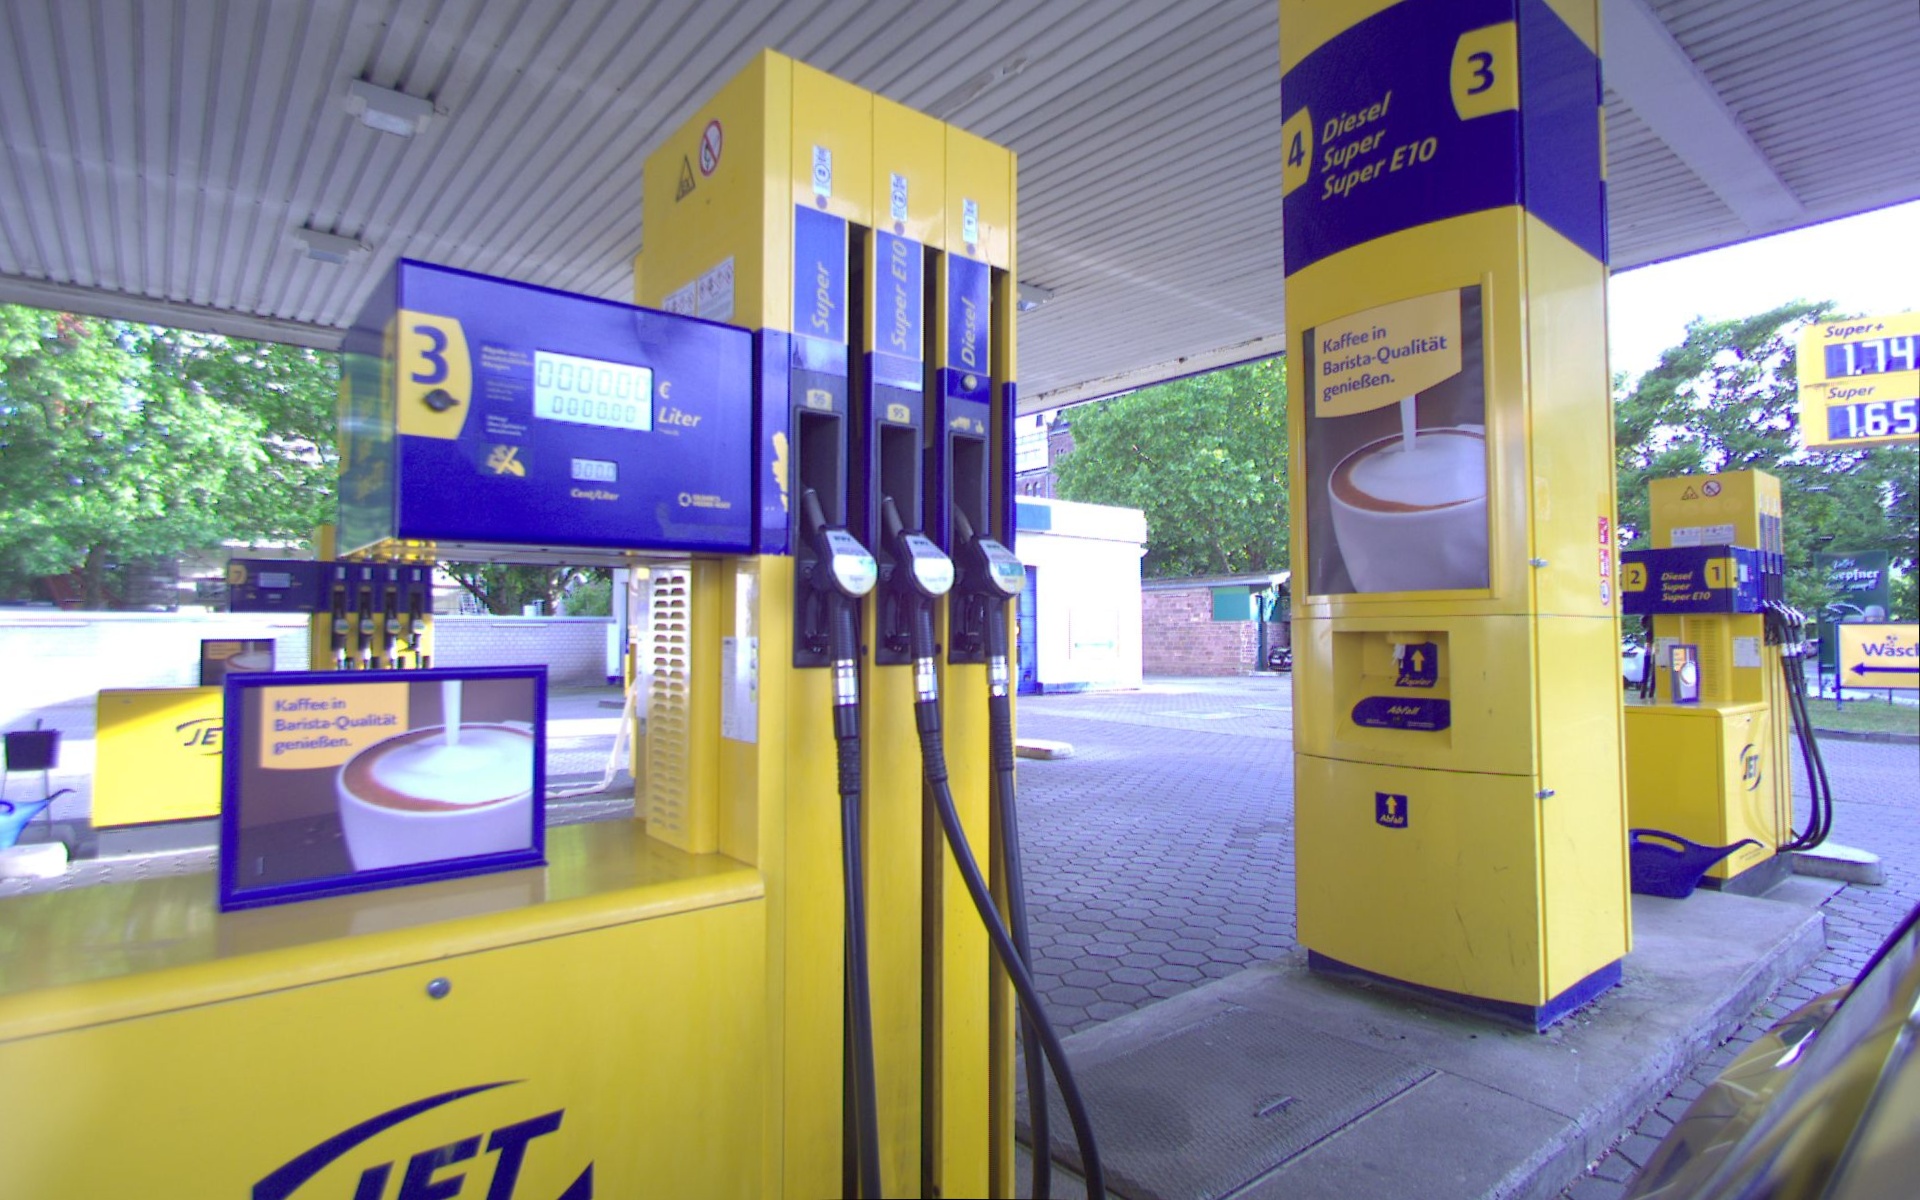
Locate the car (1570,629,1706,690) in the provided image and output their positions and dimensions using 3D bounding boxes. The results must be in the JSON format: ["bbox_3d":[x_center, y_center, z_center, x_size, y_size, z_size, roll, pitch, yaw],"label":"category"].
[{"bbox_3d":[18.231,1.559,27.171,3.923,1.529,1.740,2,-3,-35],"label":"car"}]

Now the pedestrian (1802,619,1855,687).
[{"bbox_3d":[26.935,1.628,31.403,0.923,2.040,1.205,0,-2,25],"label":"pedestrian"}]

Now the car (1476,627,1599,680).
[{"bbox_3d":[17.567,1.638,30.759,3.923,1.529,1.740,3,-3,-35],"label":"car"}]

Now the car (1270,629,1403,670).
[{"bbox_3d":[12.841,1.695,34.507,4.134,1.294,1.751,2,-3,-22],"label":"car"}]

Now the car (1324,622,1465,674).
[{"bbox_3d":[13.800,1.544,32.158,4.134,1.544,1.791,2,-3,-24],"label":"car"}]
